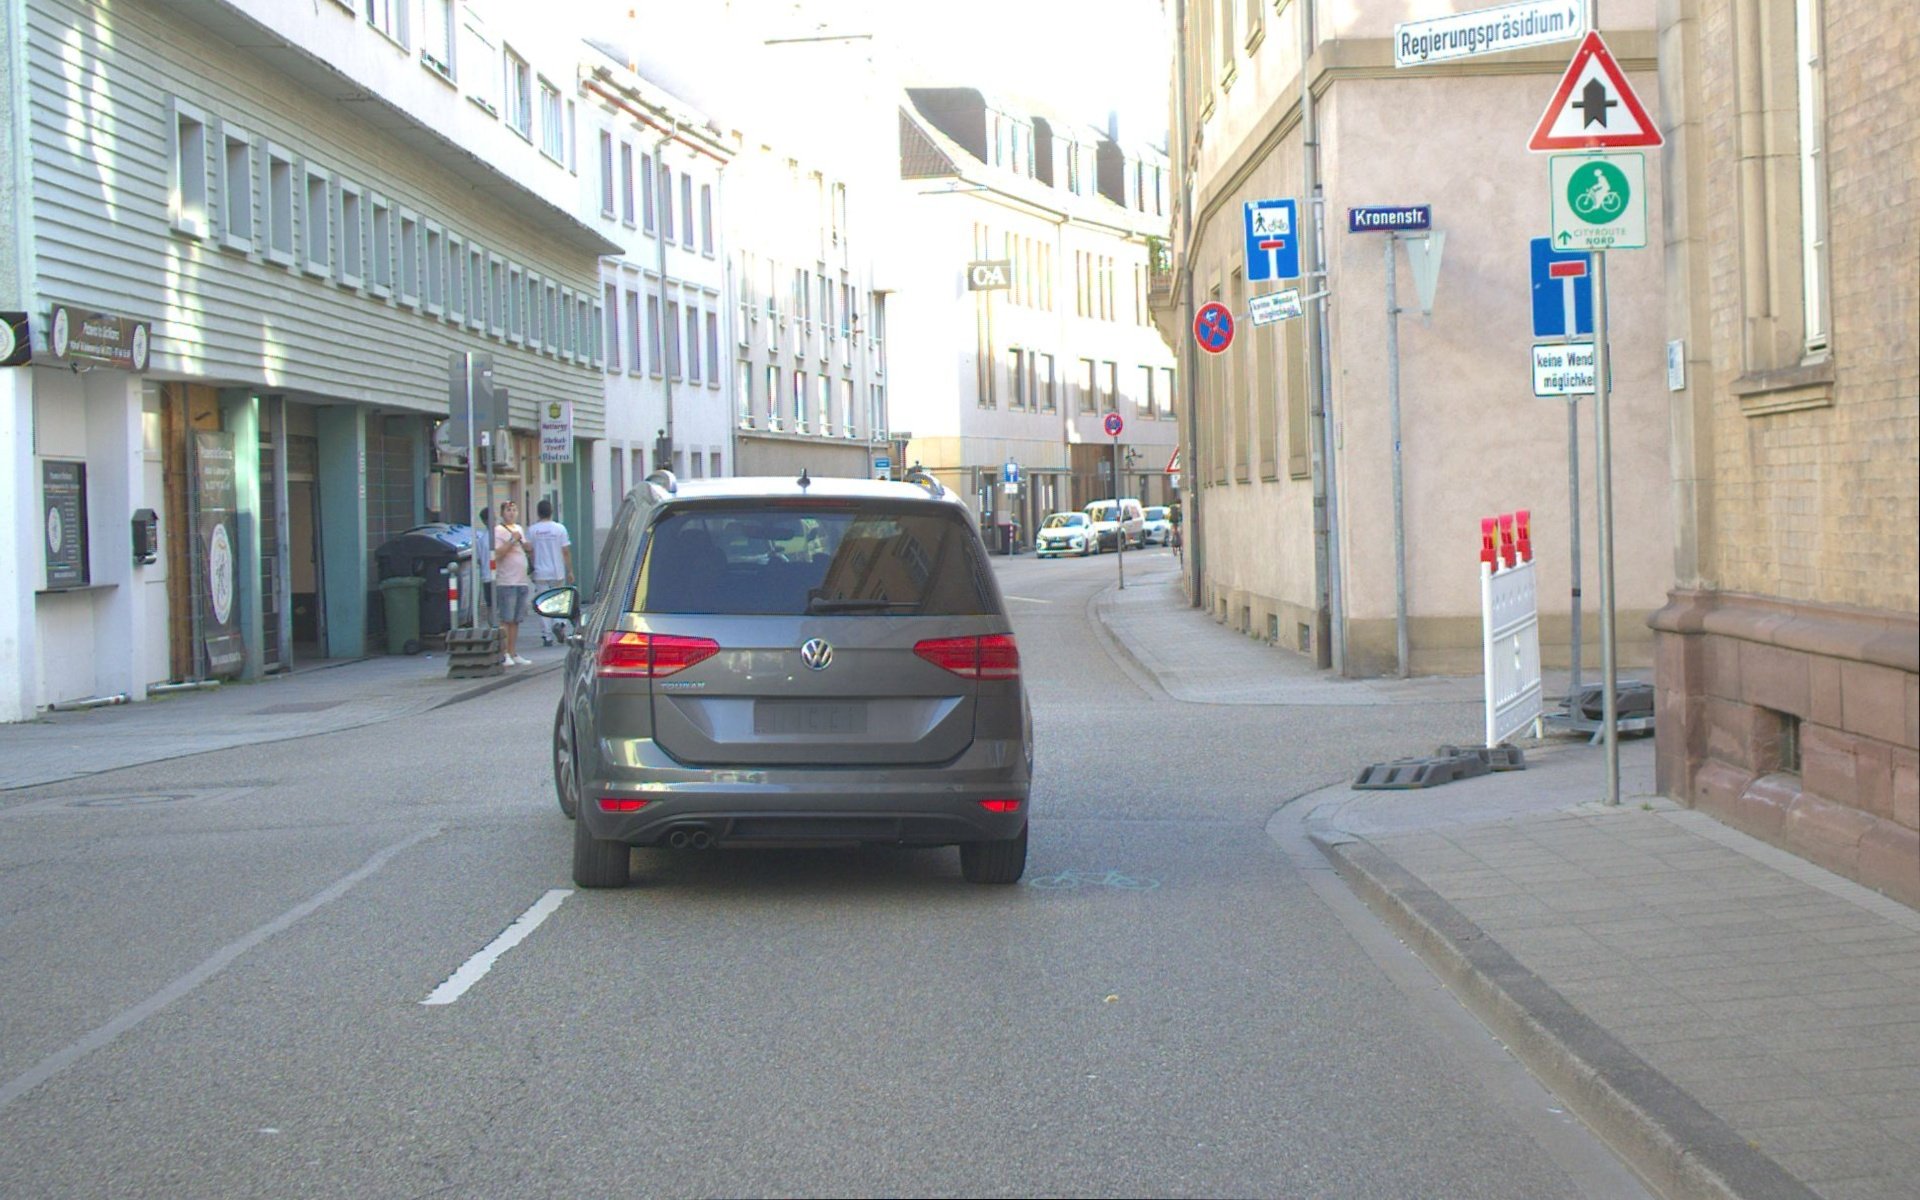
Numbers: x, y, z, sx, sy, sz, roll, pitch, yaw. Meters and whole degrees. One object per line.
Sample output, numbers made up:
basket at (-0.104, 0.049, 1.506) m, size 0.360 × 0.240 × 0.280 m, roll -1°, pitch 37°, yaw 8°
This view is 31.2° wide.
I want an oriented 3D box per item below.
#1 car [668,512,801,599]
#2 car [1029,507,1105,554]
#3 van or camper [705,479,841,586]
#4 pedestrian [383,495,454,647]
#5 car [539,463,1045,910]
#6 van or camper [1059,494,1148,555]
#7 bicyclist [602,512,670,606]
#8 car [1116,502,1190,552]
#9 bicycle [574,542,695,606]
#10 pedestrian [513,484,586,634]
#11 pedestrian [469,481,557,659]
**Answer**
car at (-4.042, -0.836, 62.207) m, size 1.866 × 1.463 × 3.833 m, roll -1°, pitch 2°, yaw 4°
car at (3.571, -2.320, 114.383) m, size 1.735 × 1.463 × 3.998 m, roll -1°, pitch 2°, yaw 14°
van or camper at (-3.655, -1.355, 67.932) m, size 1.994 × 2.006 × 4.482 m, roll -1°, pitch 2°, yaw 5°
pedestrian at (-6.584, -0.357, 41.838) m, size 0.728 × 1.823 × 0.557 m, roll -1°, pitch 1°, yaw -1°
car at (-0.848, 0.267, 14.518) m, size 1.761 × 1.601 × 4.001 m, roll 1°, pitch 1°, yaw -8°
van or camper at (5.039, -2.664, 120.114) m, size 1.995 × 2.006 × 4.995 m, roll -1°, pitch 2°, yaw 15°
bicyclist at (-5.472, -0.696, 58.090) m, size 0.831 × 1.556 × 0.759 m, roll -2°, pitch 2°, yaw -37°
car at (7.115, -2.697, 126.411) m, size 1.827 × 1.720 × 3.997 m, roll -1°, pitch 2°, yaw 16°
bicycle at (-5.521, -0.450, 58.153) m, size 0.831 × 1.050 × 2.549 m, roll -2°, pitch 2°, yaw -36°
pedestrian at (-5.058, -0.514, 42.354) m, size 0.556 × 1.823 × 0.730 m, roll -1°, pitch 2°, yaw 23°
pedestrian at (-4.637, -0.319, 35.688) m, size 0.556 × 1.823 × 0.730 m, roll -1°, pitch 2°, yaw 23°
